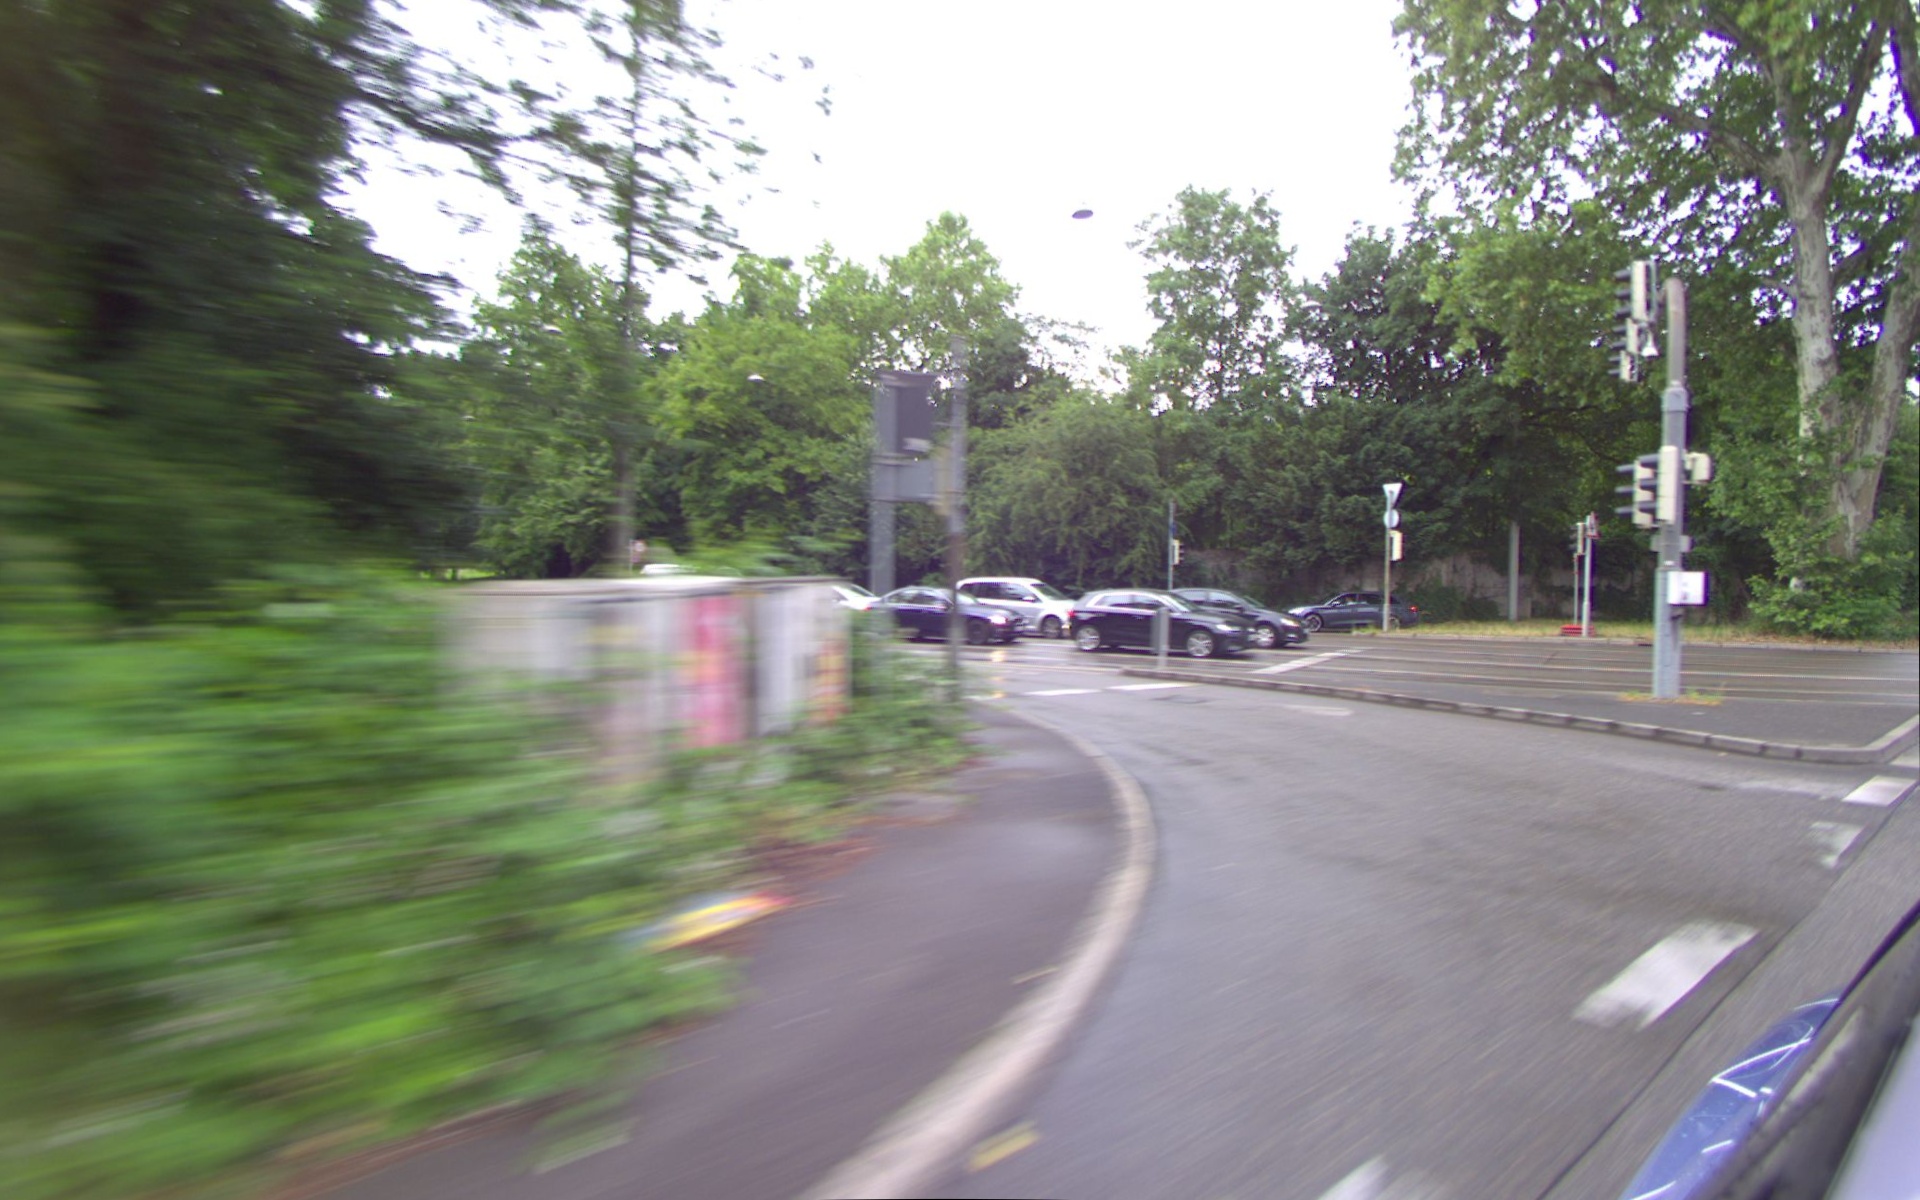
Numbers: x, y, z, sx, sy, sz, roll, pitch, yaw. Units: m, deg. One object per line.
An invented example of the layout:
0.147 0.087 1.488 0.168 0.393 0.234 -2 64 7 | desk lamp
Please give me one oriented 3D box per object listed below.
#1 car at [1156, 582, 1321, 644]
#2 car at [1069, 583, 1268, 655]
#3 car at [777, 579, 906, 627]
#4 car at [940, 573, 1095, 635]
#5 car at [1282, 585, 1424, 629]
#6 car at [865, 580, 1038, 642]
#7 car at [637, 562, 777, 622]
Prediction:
6.981 0.281 25.408 3.666 1.396 1.759 1 2 32 | car
4.600 0.368 22.465 4.017 1.420 1.762 1 1 28 | car
-3.717 0.056 31.707 3.658 1.396 1.763 1 1 27 | car
1.595 0.068 28.532 4.022 1.623 1.760 1 1 31 | car
13.437 0.226 34.776 4.149 1.420 1.778 0 1 4 | car
-0.236 0.232 25.842 4.092 1.420 1.761 1 1 29 | car
-8.700 -0.322 34.706 4.563 1.953 1.938 1 1 28 | car
